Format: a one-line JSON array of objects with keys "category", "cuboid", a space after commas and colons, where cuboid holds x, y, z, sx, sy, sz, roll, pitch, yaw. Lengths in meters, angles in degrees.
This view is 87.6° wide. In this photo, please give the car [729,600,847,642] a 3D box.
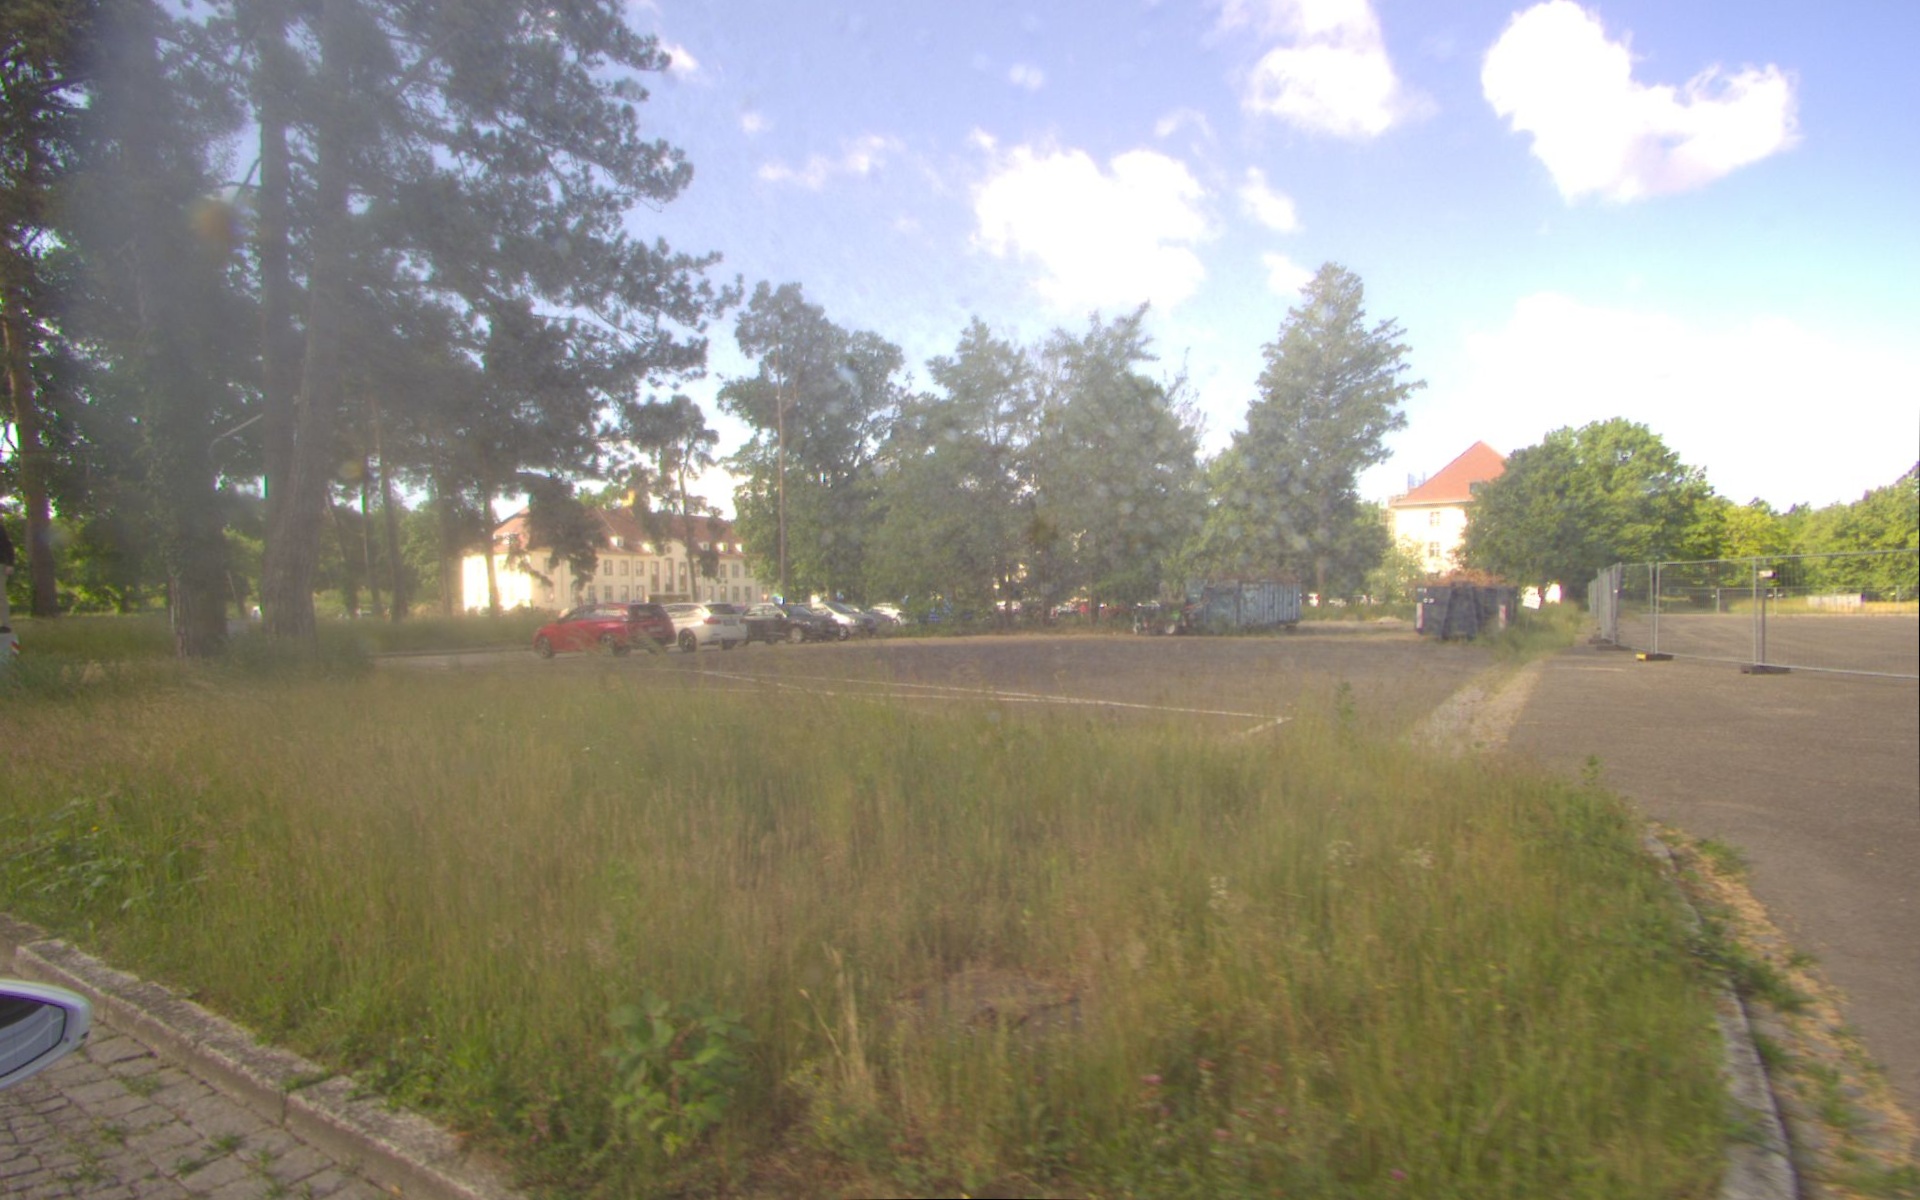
[{"category": "car", "cuboid": [-5.944, 0.713, 34.489, 3.988, 1.332, 1.612, 0, 1, 33]}]

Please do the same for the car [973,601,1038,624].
[{"category": "car", "cuboid": [3.155, 0.849, 69.655, 4.181, 1.568, 1.720, 0, -1, 33]}]

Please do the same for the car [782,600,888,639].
[{"category": "car", "cuboid": [-4.677, 0.707, 37.257, 3.740, 1.390, 1.719, -1, -1, 35]}]

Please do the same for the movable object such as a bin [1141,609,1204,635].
[{"category": "movable object such as a bin", "cuboid": [6.626, 0.673, 31.158, 1.696, 0.762, 1.143, -1, 0, 26]}]

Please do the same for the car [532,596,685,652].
[{"category": "car", "cuboid": [-9.705, 0.685, 27.556, 4.266, 1.417, 1.744, -2, -1, 33]}]

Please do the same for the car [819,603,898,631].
[{"category": "car", "cuboid": [-5.567, 0.932, 54.921, 4.181, 1.443, 1.720, 0, -1, 33]}]

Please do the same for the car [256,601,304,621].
[{"category": "car", "cuboid": [-56.152, 0.864, 82.658, 4.103, 1.603, 1.823, 0, 1, 33]}]

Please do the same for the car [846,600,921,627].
[{"category": "car", "cuboid": [-4.430, 0.786, 57.764, 4.181, 1.487, 1.720, 0, -1, 33]}]

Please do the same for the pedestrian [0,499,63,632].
[{"category": "pedestrian", "cuboid": [-13.629, -0.475, 14.140, 1.154, 1.821, 1.057, -2, 2, -28]}]

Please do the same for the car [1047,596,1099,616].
[{"category": "car", "cuboid": [8.819, 0.503, 78.324, 3.682, 1.568, 1.704, 0, -1, 33]}]

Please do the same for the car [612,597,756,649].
[{"category": "car", "cuboid": [-8.298, 0.708, 30.021, 4.180, 1.397, 1.776, -3, -1, 31]}]

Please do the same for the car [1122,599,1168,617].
[{"category": "car", "cuboid": [16.629, 0.704, 90.022, 3.682, 1.568, 1.704, 0, -1, 33]}]

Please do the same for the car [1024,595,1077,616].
[{"category": "car", "cuboid": [6.781, 0.445, 74.934, 3.640, 1.568, 1.704, 0, -1, 33]}]

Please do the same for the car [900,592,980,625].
[{"category": "car", "cuboid": [-1.234, 0.514, 61.940, 4.677, 1.973, 1.981, 0, -1, 33]}]
